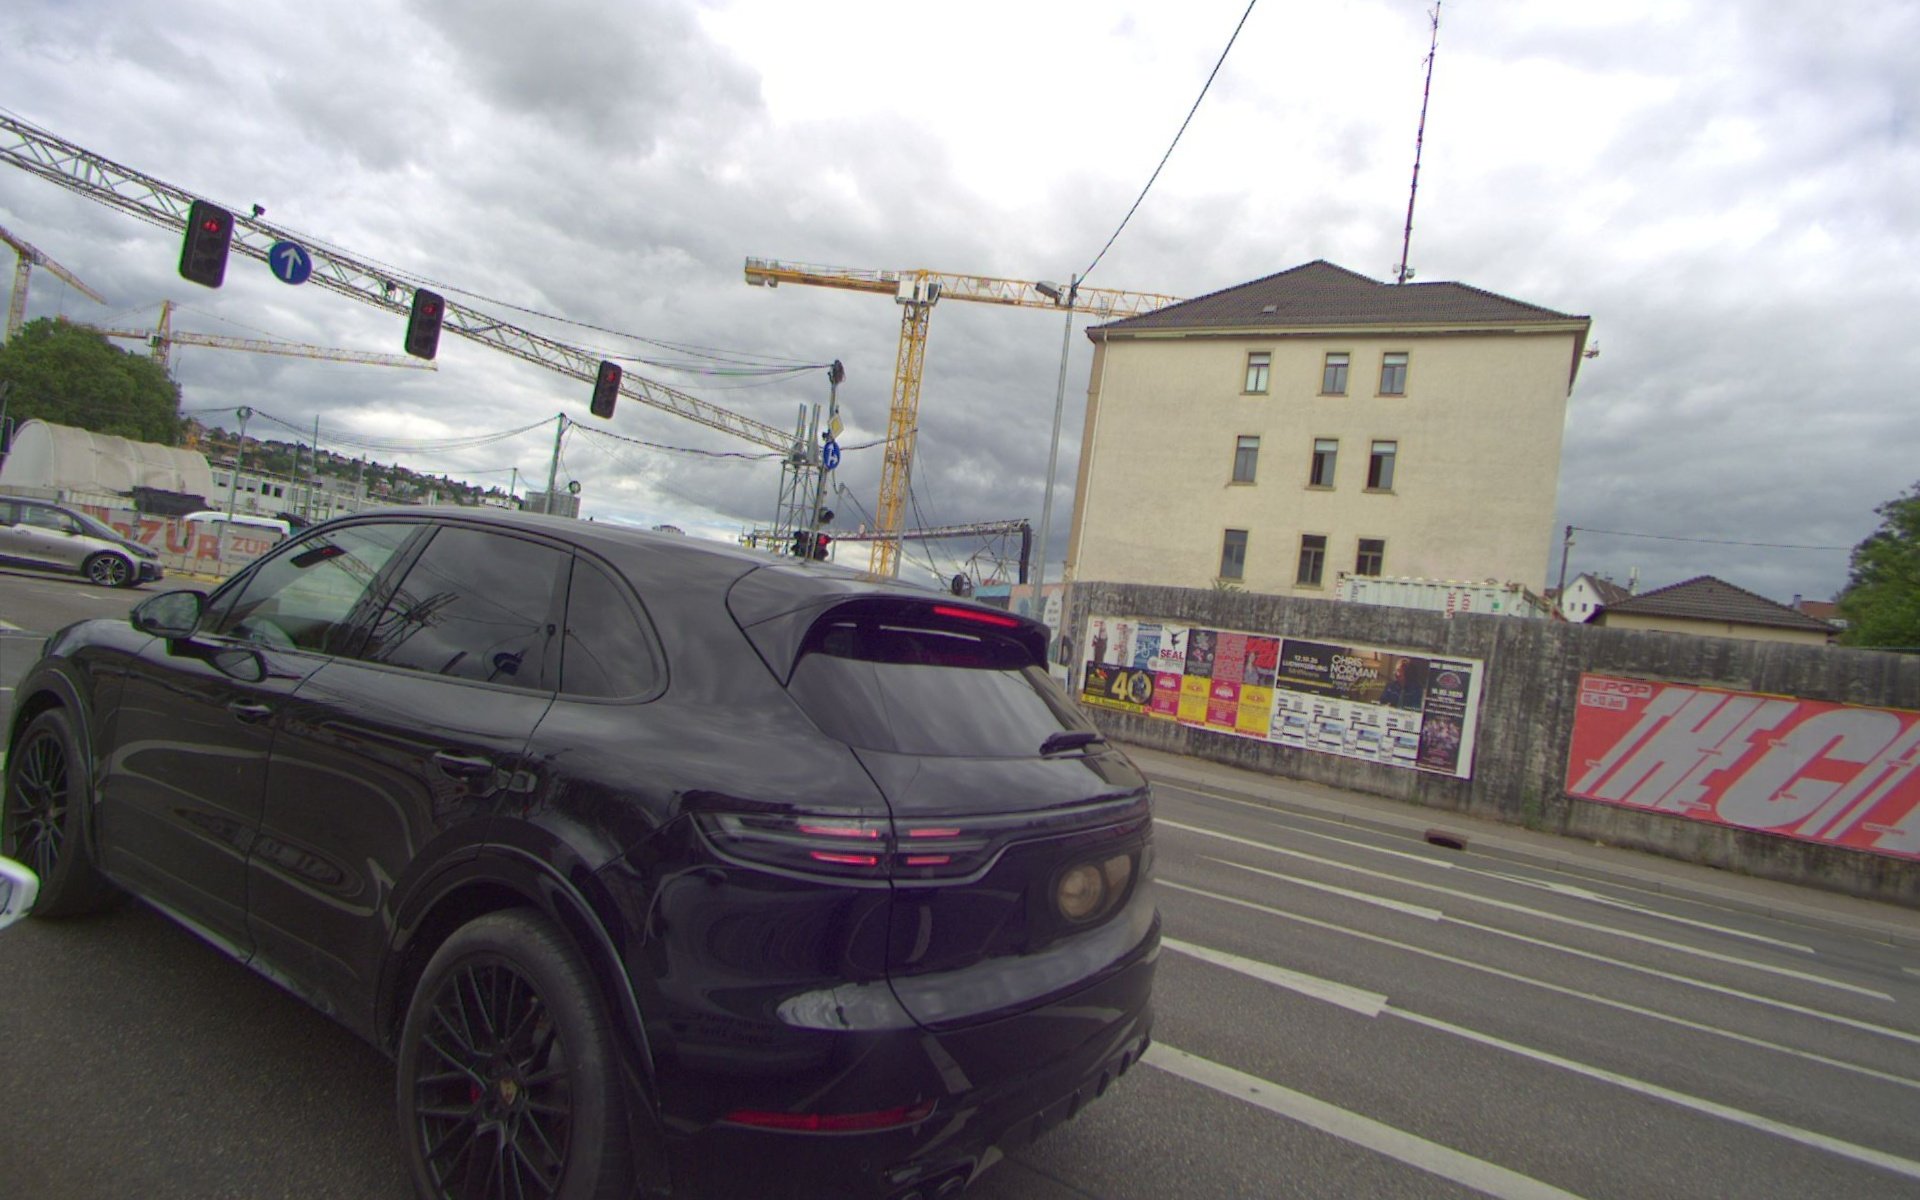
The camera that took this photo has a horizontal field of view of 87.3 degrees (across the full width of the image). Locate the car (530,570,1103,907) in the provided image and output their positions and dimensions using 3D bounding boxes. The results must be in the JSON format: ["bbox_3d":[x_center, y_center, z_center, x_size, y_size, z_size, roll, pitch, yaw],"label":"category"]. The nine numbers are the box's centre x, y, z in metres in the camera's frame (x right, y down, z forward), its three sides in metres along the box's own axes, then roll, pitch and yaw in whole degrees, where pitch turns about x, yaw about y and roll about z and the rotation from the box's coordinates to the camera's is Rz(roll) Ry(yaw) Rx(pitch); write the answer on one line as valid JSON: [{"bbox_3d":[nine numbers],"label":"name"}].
[{"bbox_3d":[-1.131,0.837,7.351,3.817,1.561,1.667,7,-2,32],"label":"car"}]

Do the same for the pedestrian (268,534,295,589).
[{"bbox_3d":[-26.198,-1.494,38.856,0.648,2.037,0.513,8,-1,-34],"label":"pedestrian"}]

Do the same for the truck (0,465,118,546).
[{"bbox_3d":[-60.372,-6.387,62.025,3.875,4.086,13.089,8,-2,11],"label":"truck"}]

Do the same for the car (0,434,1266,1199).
[{"bbox_3d":[-1.545,0.527,3.610,4.558,1.705,1.959,7,-2,32],"label":"car"}]

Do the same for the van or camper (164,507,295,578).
[{"bbox_3d":[-31.926,-2.495,44.042,4.205,2.384,1.975,10,-3,-44],"label":"van or camper"}]

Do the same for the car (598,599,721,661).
[{"bbox_3d":[-10.746,1.115,36.253,1.769,1.687,4.066,7,-3,27],"label":"car"}]

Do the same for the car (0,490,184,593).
[{"bbox_3d":[-19.274,-1.314,21.332,4.021,1.687,1.789,10,-2,-27],"label":"car"}]
